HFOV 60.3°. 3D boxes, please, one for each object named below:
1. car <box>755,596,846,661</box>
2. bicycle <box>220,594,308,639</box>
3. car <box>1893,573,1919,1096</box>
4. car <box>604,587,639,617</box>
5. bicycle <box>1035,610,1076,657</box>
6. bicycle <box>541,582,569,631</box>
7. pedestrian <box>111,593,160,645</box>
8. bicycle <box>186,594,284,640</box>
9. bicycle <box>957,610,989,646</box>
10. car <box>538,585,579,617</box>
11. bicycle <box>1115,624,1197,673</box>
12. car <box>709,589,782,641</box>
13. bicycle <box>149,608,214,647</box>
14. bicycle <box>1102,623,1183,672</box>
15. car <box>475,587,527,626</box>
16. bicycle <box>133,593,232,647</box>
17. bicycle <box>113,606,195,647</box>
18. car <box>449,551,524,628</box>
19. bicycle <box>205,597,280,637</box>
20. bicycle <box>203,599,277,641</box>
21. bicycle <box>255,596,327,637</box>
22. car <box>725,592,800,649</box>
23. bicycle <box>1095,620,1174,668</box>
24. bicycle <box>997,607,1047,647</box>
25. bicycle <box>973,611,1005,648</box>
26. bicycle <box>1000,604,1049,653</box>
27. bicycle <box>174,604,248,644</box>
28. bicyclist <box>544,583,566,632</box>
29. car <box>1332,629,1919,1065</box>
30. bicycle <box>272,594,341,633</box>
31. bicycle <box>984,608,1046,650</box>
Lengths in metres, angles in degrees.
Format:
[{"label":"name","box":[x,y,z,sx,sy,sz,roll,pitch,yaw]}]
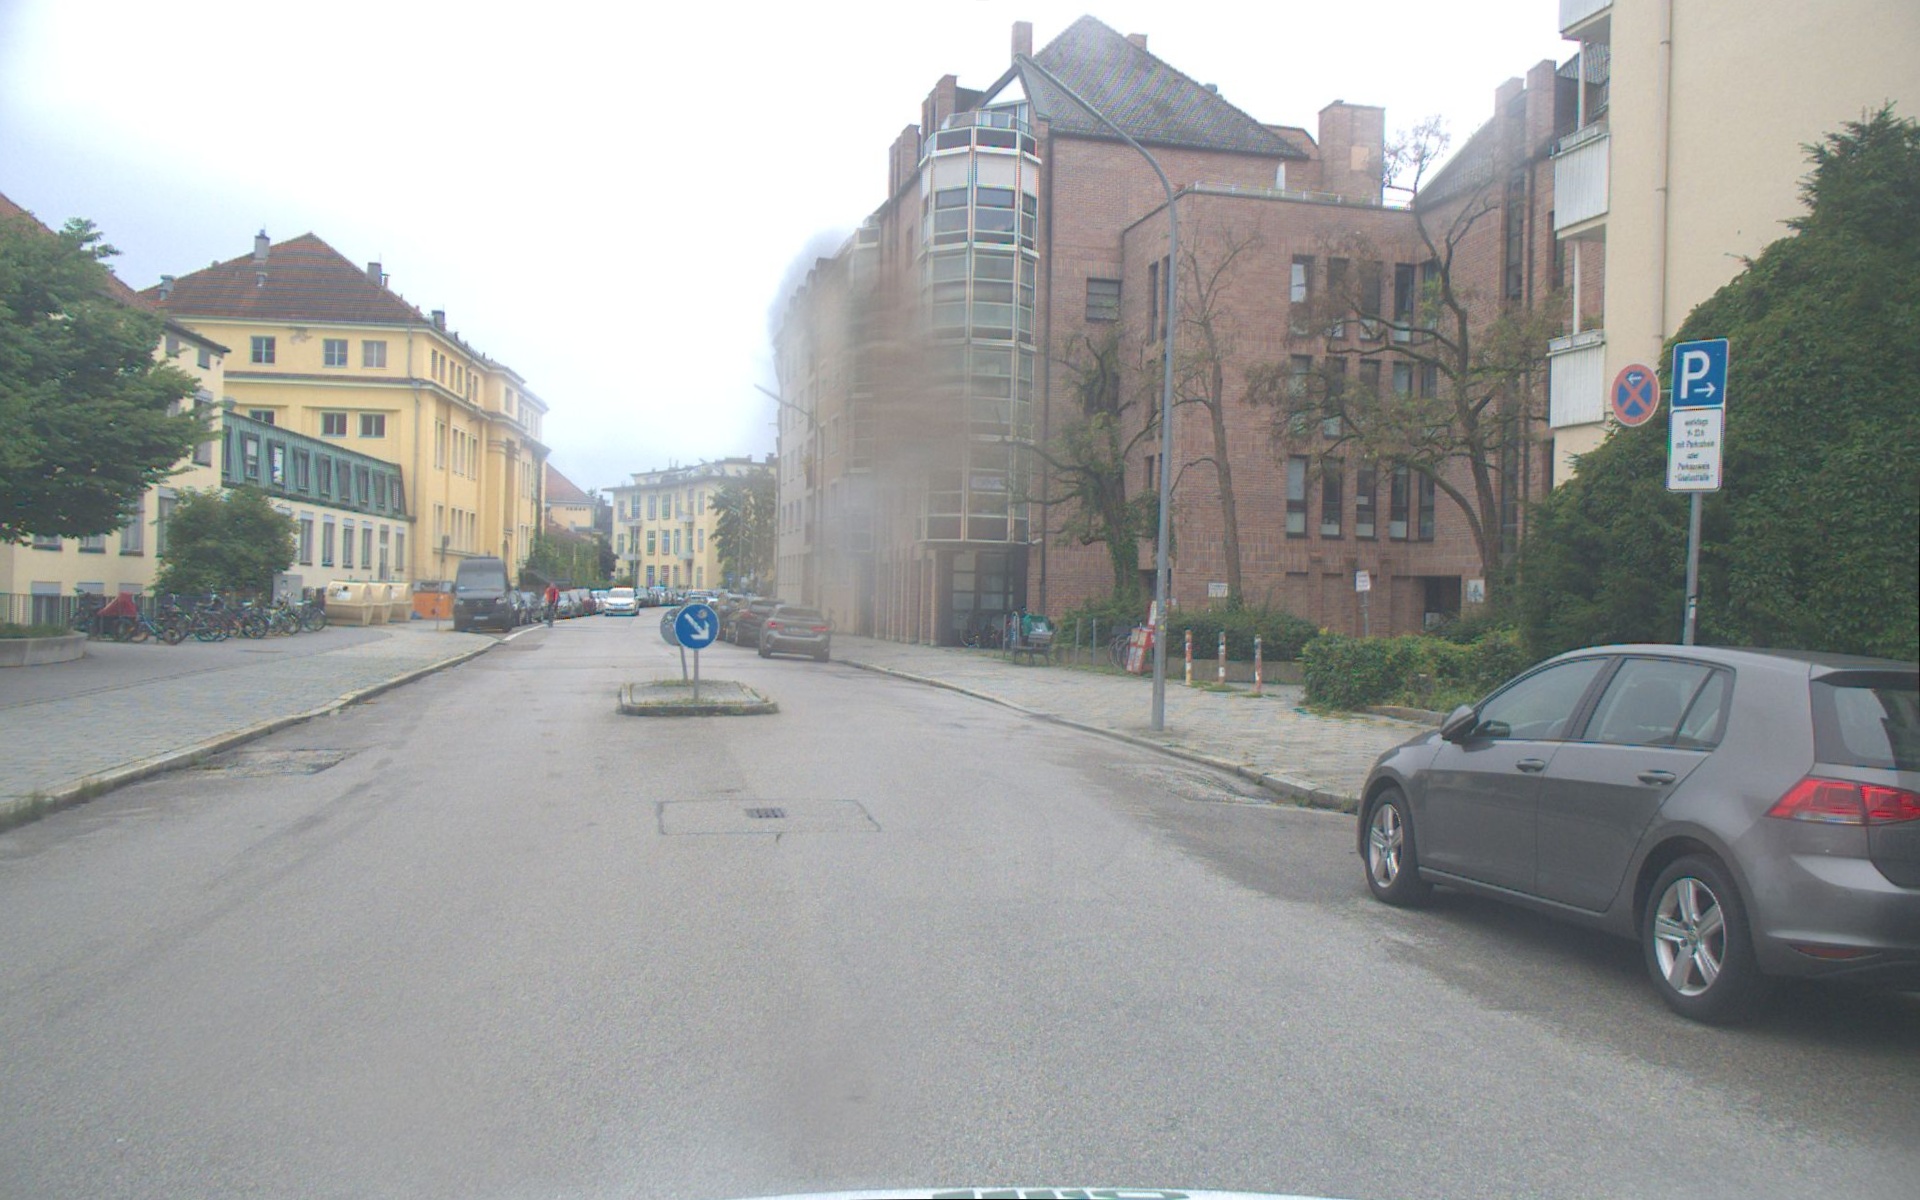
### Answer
[{"label":"car","box":[-4.313,0.726,44.233,1.891,1.538,4.379,3,0,-12]},{"label":"bicycle","box":[-20.284,0.477,48.222,2.264,1.154,0.581,3,0,-2]},{"label":"car","box":[4.050,0.758,3.044,1.627,1.593,4.506,3,0,-8]},{"label":"car","box":[-20.172,0.152,98.705,1.989,1.650,4.493,-1,-1,-11]},{"label":"bicycle","box":[2.507,0.879,43.391,0.412,1.193,1.357,3,1,32]},{"label":"bicycle","box":[-17.238,0.253,70.455,0.733,2.048,2.844,-1,1,-6]},{"label":"pedestrian","box":[-20.009,0.456,40.152,0.704,1.183,1.039,3,0,-7]},{"label":"bicycle","box":[-20.208,0.477,46.129,2.502,1.227,0.424,1,0,-2]},{"label":"bicycle","box":[0.410,0.881,52.214,0.478,1.078,1.988,3,-1,-14]},{"label":"car","box":[-21.422,0.029,88.368,1.740,1.577,3.770,3,1,-9]},{"label":"bicycle","box":[4.296,1.060,36.233,1.670,0.982,0.544,3,0,-12]},{"label":"car","box":[-7.756,0.499,59.459,1.932,1.629,4.653,3,1,-15]},{"label":"bicycle","box":[-19.084,0.664,40.562,1.345,0.877,0.439,3,0,-6]},{"label":"bicycle","box":[4.078,1.061,36.981,1.670,0.982,0.544,3,0,-12]},{"label":"car","box":[-19.325,0.265,69.787,1.668,1.478,3.733,3,1,-10]},{"label":"bicycle","box":[-19.728,0.501,41.999,2.062,1.249,0.787,3,0,-2]},{"label":"bicycle","box":[-19.252,0.633,39.528,1.686,0.877,0.439,3,0,-6]},{"label":"car","box":[-17.718,-0.353,62.129,2.380,2.762,5.932,0,-1,-13]},{"label":"bicycle","box":[-20.306,0.479,46.823,1.829,1.047,0.539,3,0,-2]},{"label":"bicycle","box":[-19.803,0.558,45.497,1.755,1.051,0.507,3,0,-2]},{"label":"bicycle","box":[-20.586,0.495,50.901,1.917,1.151,0.573,3,0,-2]},{"label":"car","box":[-6.567,0.654,54.674,1.800,1.629,4.249,3,1,-15]},{"label":"bicycle","box":[3.970,1.005,37.612,1.670,0.982,0.544,3,0,-12]},{"label":"bicycle","box":[1.922,0.832,51.302,1.448,1.167,0.382,3,0,-6]},{"label":"bicycle","box":[0.915,0.929,52.369,0.478,1.078,1.988,3,0,-14]},{"label":"bicycle","box":[1.739,0.777,45.024,0.525,1.270,2.401,3,-1,-17]},{"label":"bicycle","box":[-19.845,0.633,43.864,1.641,0.932,0.595,3,0,-2]},{"label":"bicyclist","box":[-17.262,0.314,70.470,0.752,2.048,0.767,-2,1,-7]},{"label":"car","box":[3.396,0.905,7.686,1.723,1.421,4.033,3,-1,-11]},{"label":"bicycle","box":[-20.737,0.417,52.531,1.866,1.111,0.677,3,0,-2]},{"label":"bicycle","box":[1.680,0.890,50.828,1.813,1.167,0.487,3,0,-6]}]
